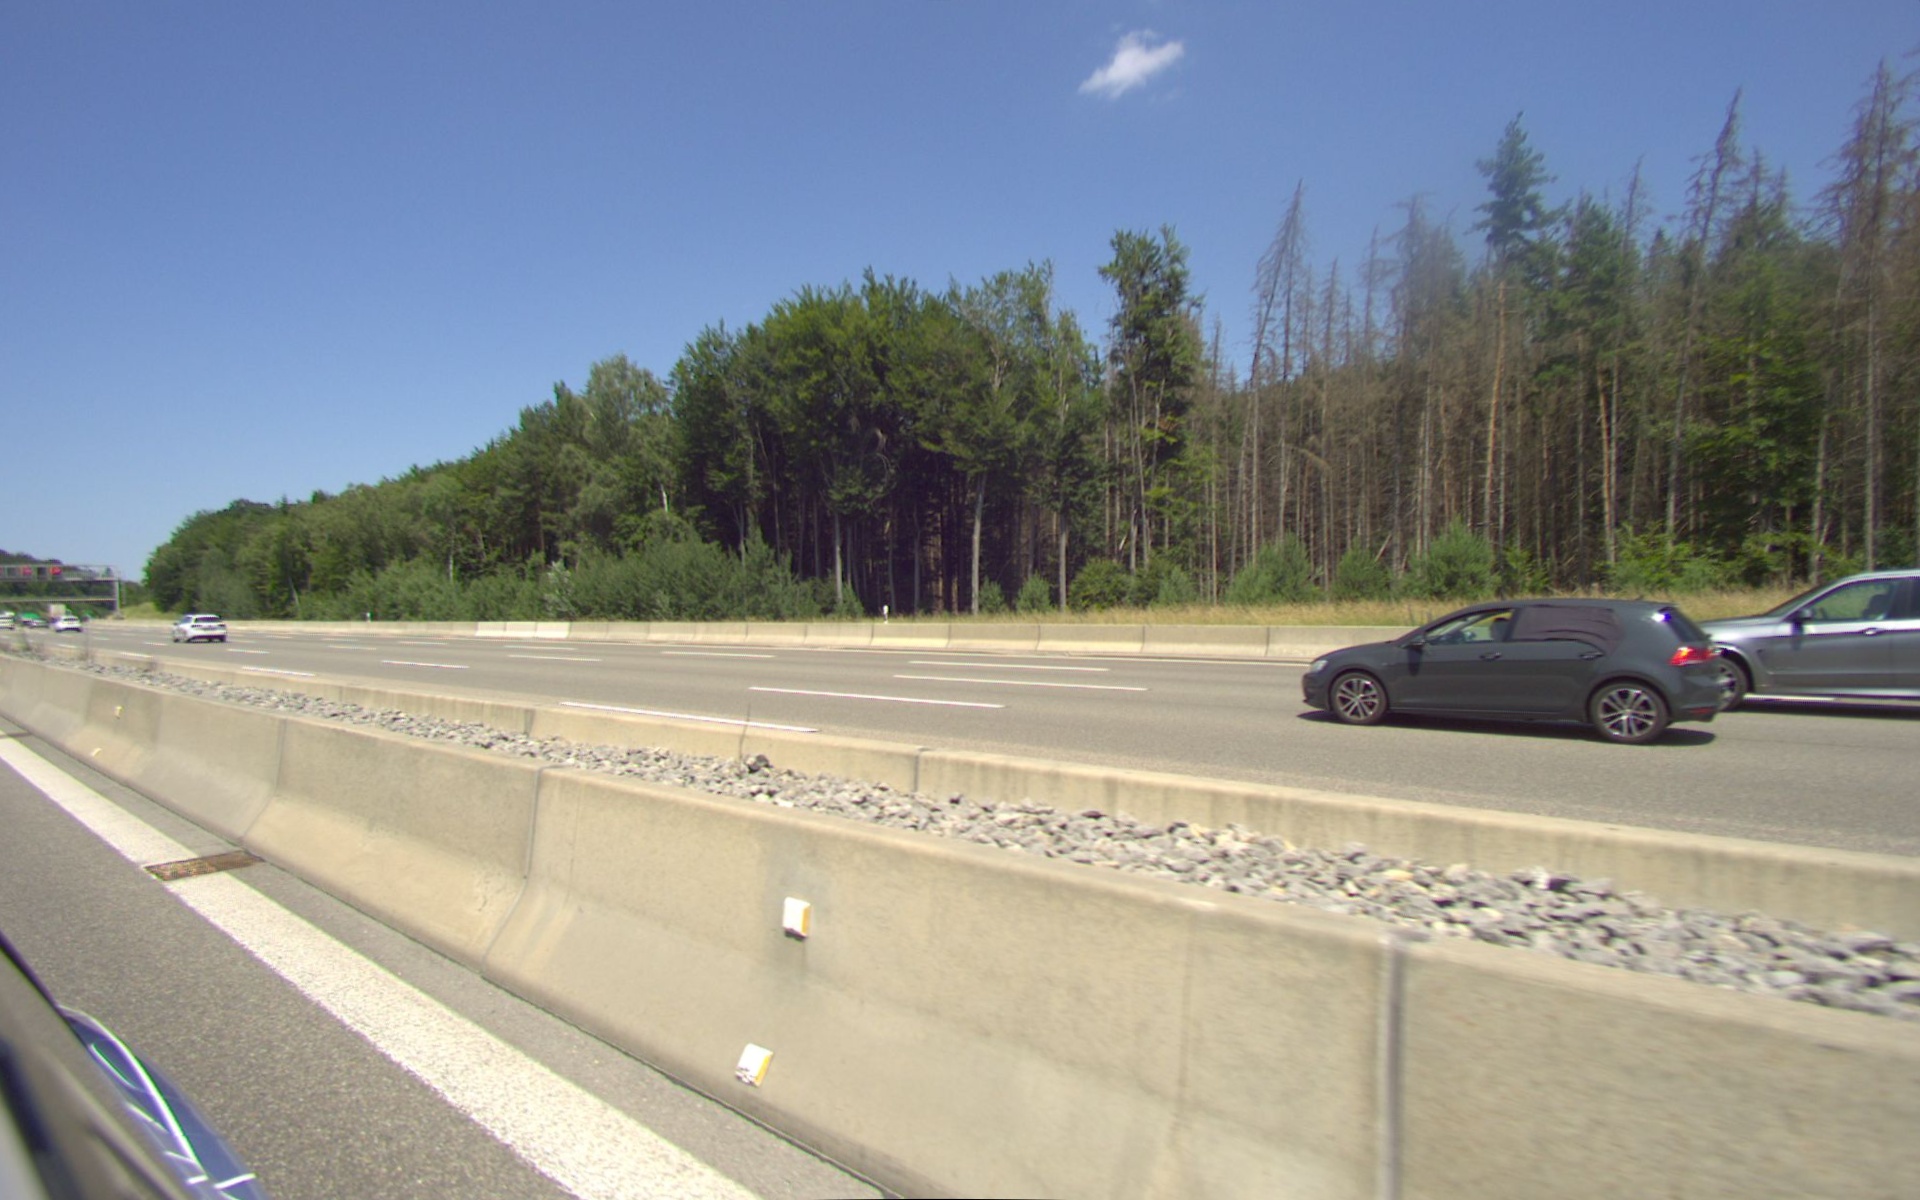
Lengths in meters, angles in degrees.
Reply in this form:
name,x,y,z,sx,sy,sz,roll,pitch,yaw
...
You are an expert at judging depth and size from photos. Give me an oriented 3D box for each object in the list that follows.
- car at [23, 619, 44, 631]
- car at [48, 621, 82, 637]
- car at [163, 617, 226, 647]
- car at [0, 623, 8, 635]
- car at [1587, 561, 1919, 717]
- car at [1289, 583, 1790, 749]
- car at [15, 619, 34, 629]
name,x,y,z,sx,sy,sz,roll,pitch,yaw
car,-114.492,3.102,125.082,2.907,1.364,1.628,-1,0,42
car,-81.686,2.626,92.352,3.868,1.410,1.971,-1,0,44
car,-40.734,1.673,53.828,4.781,1.475,1.712,-1,-1,41
car,-108.090,3.271,113.438,4.000,1.364,1.740,-1,0,43
car,11.123,0.443,12.441,5.579,1.772,1.795,-1,-1,41
car,6.208,0.622,11.205,4.573,1.475,1.712,-1,-1,41
car,-130.181,3.287,140.749,4.000,1.364,1.627,-1,0,43
